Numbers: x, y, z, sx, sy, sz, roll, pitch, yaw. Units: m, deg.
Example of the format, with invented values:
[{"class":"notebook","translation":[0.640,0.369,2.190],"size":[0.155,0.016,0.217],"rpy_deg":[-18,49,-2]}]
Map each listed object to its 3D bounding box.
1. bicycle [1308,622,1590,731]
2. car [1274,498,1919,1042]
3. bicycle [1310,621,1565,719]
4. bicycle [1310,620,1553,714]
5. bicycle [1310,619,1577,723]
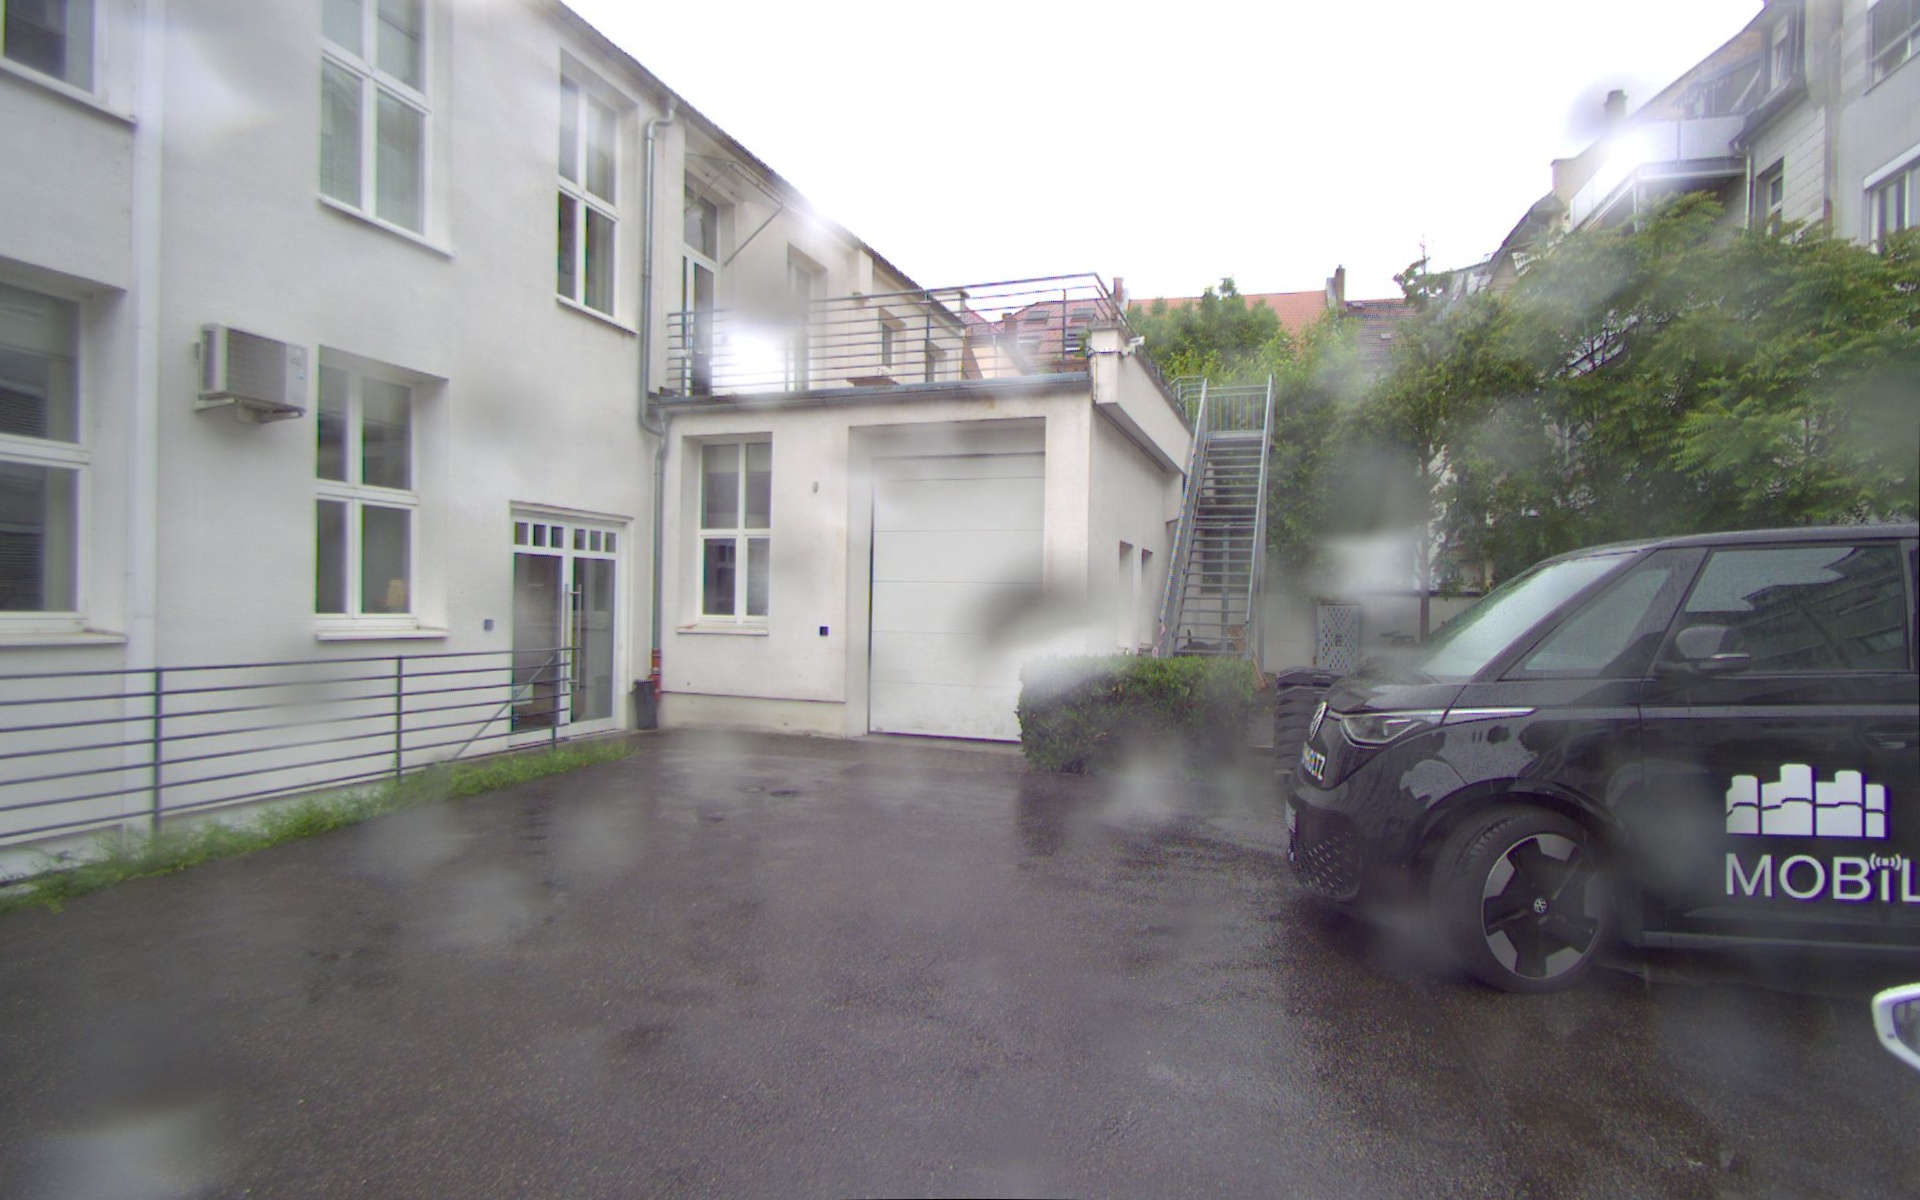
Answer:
[{"class":"bicycle","translation":[6.130,0.938,12.812],"size":[3.160,1.258,0.631],"rpy_deg":[1,-1,17]},{"class":"car","translation":[3.839,0.628,4.513],"size":[4.430,1.922,2.048],"rpy_deg":[1,-1,12]},{"class":"bicycle","translation":[6.607,0.948,14.102],"size":[3.160,1.258,0.631],"rpy_deg":[1,-1,17]},{"class":"bicycle","translation":[6.820,0.948,14.719],"size":[3.160,1.258,0.631],"rpy_deg":[1,-1,17]},{"class":"bicycle","translation":[6.383,0.917,13.468],"size":[3.160,1.258,0.631],"rpy_deg":[1,-1,17]}]
